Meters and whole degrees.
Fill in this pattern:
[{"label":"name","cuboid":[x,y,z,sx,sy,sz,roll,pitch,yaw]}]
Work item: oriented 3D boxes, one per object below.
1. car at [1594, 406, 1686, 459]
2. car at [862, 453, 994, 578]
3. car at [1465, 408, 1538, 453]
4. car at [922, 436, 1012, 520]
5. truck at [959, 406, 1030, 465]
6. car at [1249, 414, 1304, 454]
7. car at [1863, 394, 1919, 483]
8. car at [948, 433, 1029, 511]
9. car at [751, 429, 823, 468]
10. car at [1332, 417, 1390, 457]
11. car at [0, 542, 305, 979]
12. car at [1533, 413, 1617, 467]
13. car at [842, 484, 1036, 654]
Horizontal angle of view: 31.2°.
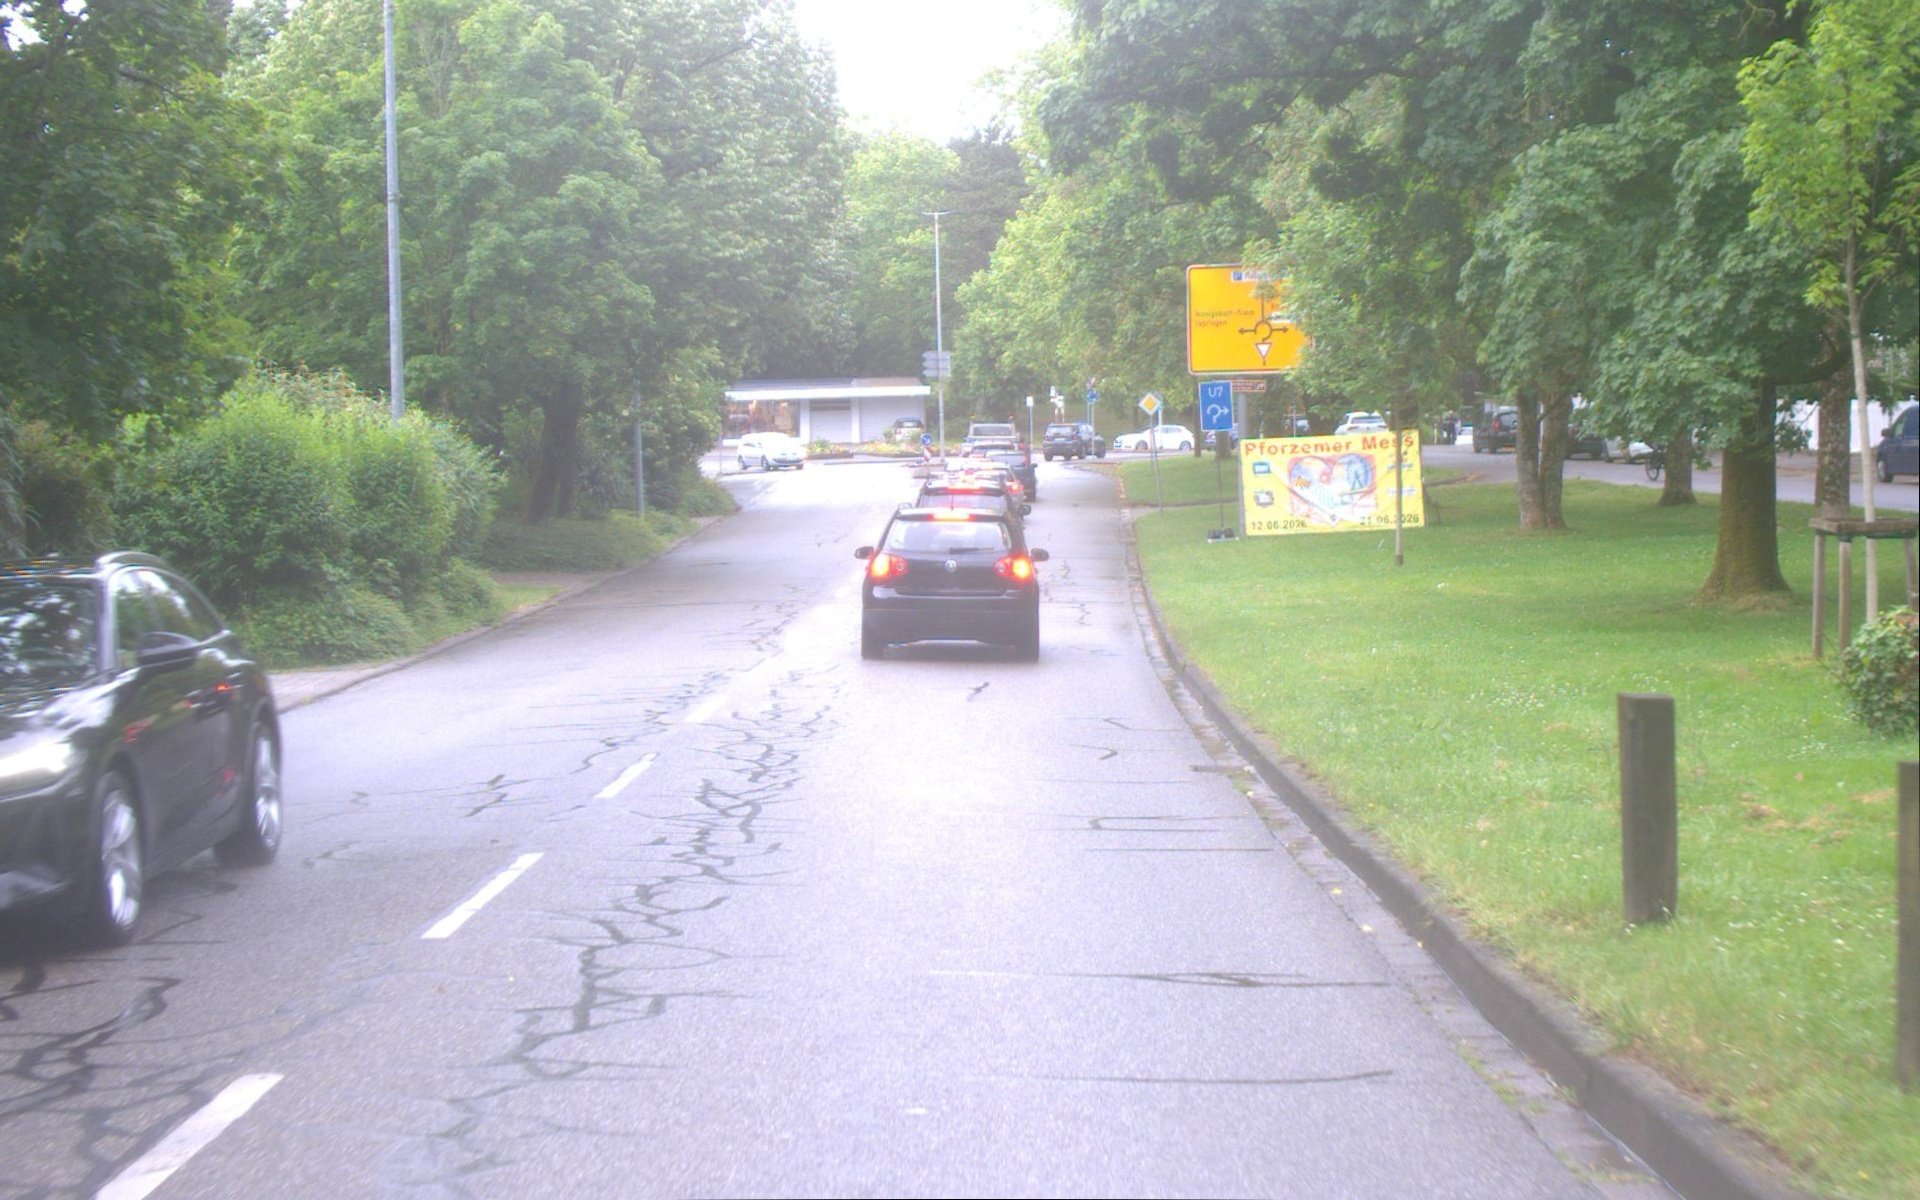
[{"label":"car","cuboid":[20.199,-4.995,102.247,1.616,1.404,4.012,-3,4,-4]},{"label":"car","cuboid":[-0.452,-1.324,52.677,1.855,1.778,4.001,-1,3,1]},{"label":"car","cuboid":[19.155,-6.008,121.707,1.801,1.406,4.114,-2,4,-1]},{"label":"car","cuboid":[0.186,-2.716,75.869,1.855,1.778,4.001,-1,3,1]},{"label":"truck","cuboid":[1.207,-5.886,122.558,2.416,1.997,5.152,-1,3,0]},{"label":"car","cuboid":[12.373,-6.514,134.497,1.803,1.380,4.001,-3,4,1]},{"label":"car","cuboid":[21.530,-3.584,75.567,1.941,1.802,4.650,-3,4,-2]},{"label":"car","cuboid":[0.701,-3.109,82.776,1.855,1.778,4.001,-1,3,1]},{"label":"car","cuboid":[-7.508,-6.569,148.944,1.763,1.608,4.142,-3,3,-22]},{"label":"car","cuboid":[15.670,-6.376,134.520,1.803,1.401,4.001,-3,4,1]},{"label":"car","cuboid":[-3.907,0.541,13.775,1.754,1.358,4.326,-3,2,-1]},{"label":"car","cuboid":[19.670,-5.143,110.153,1.801,1.524,4.114,-2,4,-1]},{"label":"car","cuboid":[-0.160,-0.355,34.285,1.799,1.510,3.754,1,3,1]}]
